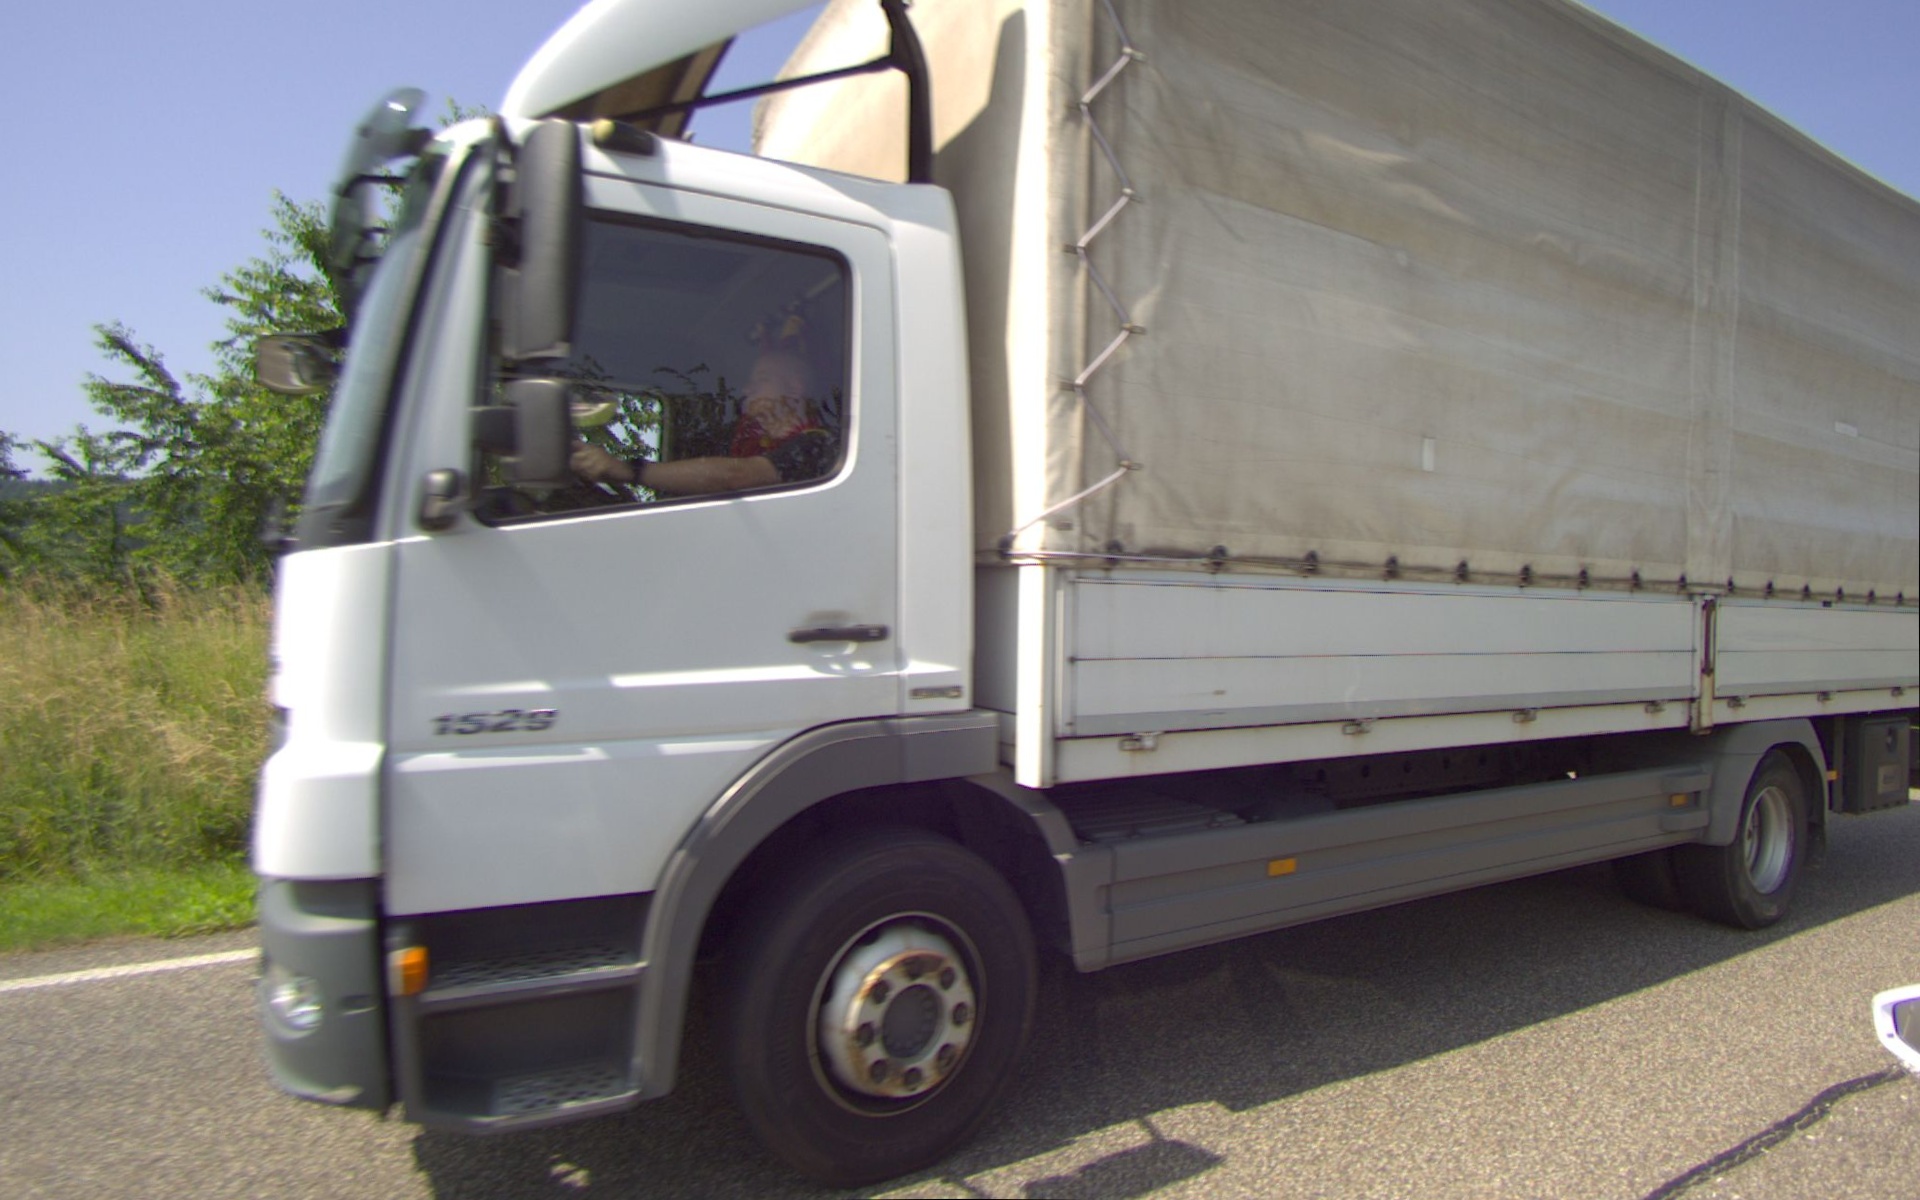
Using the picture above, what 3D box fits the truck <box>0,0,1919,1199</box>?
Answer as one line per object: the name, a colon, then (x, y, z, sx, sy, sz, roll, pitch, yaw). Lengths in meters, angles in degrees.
truck: (1.886, -0.412, 5.019, 10.089, 3.889, 2.652, 1, -1, -31)
